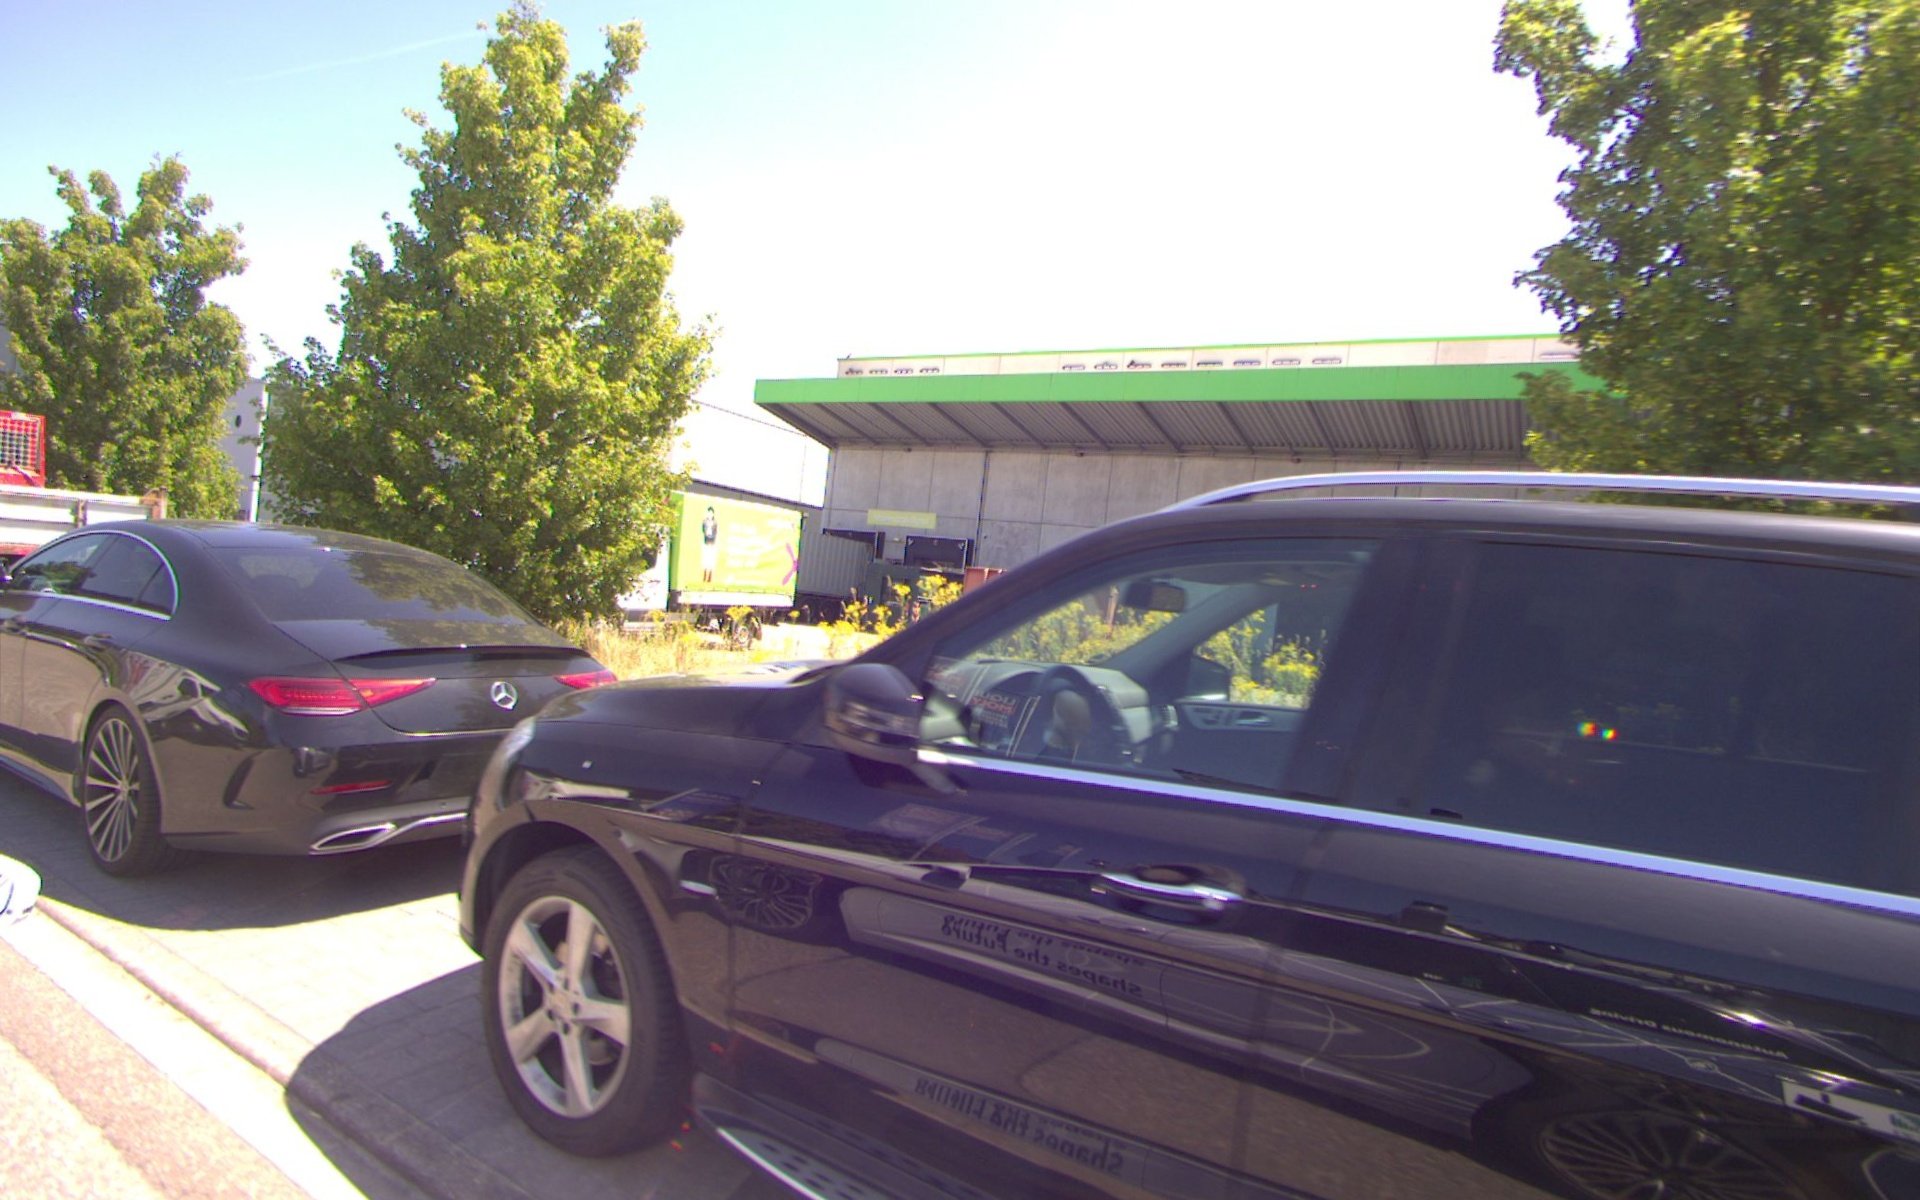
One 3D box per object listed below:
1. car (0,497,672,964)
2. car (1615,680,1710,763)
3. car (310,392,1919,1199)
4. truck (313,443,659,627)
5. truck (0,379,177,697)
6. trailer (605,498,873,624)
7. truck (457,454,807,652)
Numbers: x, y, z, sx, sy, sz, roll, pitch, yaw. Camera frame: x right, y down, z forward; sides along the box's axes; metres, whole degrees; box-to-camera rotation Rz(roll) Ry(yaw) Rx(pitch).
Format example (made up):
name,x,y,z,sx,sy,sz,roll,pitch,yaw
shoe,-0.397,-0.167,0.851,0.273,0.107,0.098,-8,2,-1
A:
name,x,y,z,sx,sy,sz,roll,pitch,yaw
car,-3.836,0.293,5.241,4.758,1.402,1.698,6,2,32
car,16.001,2.702,22.985,1.525,1.552,3.388,7,0,35
car,0.634,0.586,2.384,4.695,1.748,1.811,7,2,33
truck,-9.293,-1.147,20.390,2.374,2.950,5.827,7,0,31
truck,-8.432,-0.617,8.279,4.317,2.211,1.679,6,2,32
trailer,-8.713,-1.337,42.439,2.758,3.923,12.630,6,-1,32
truck,-5.645,-0.648,18.370,2.267,2.908,5.911,6,0,29
